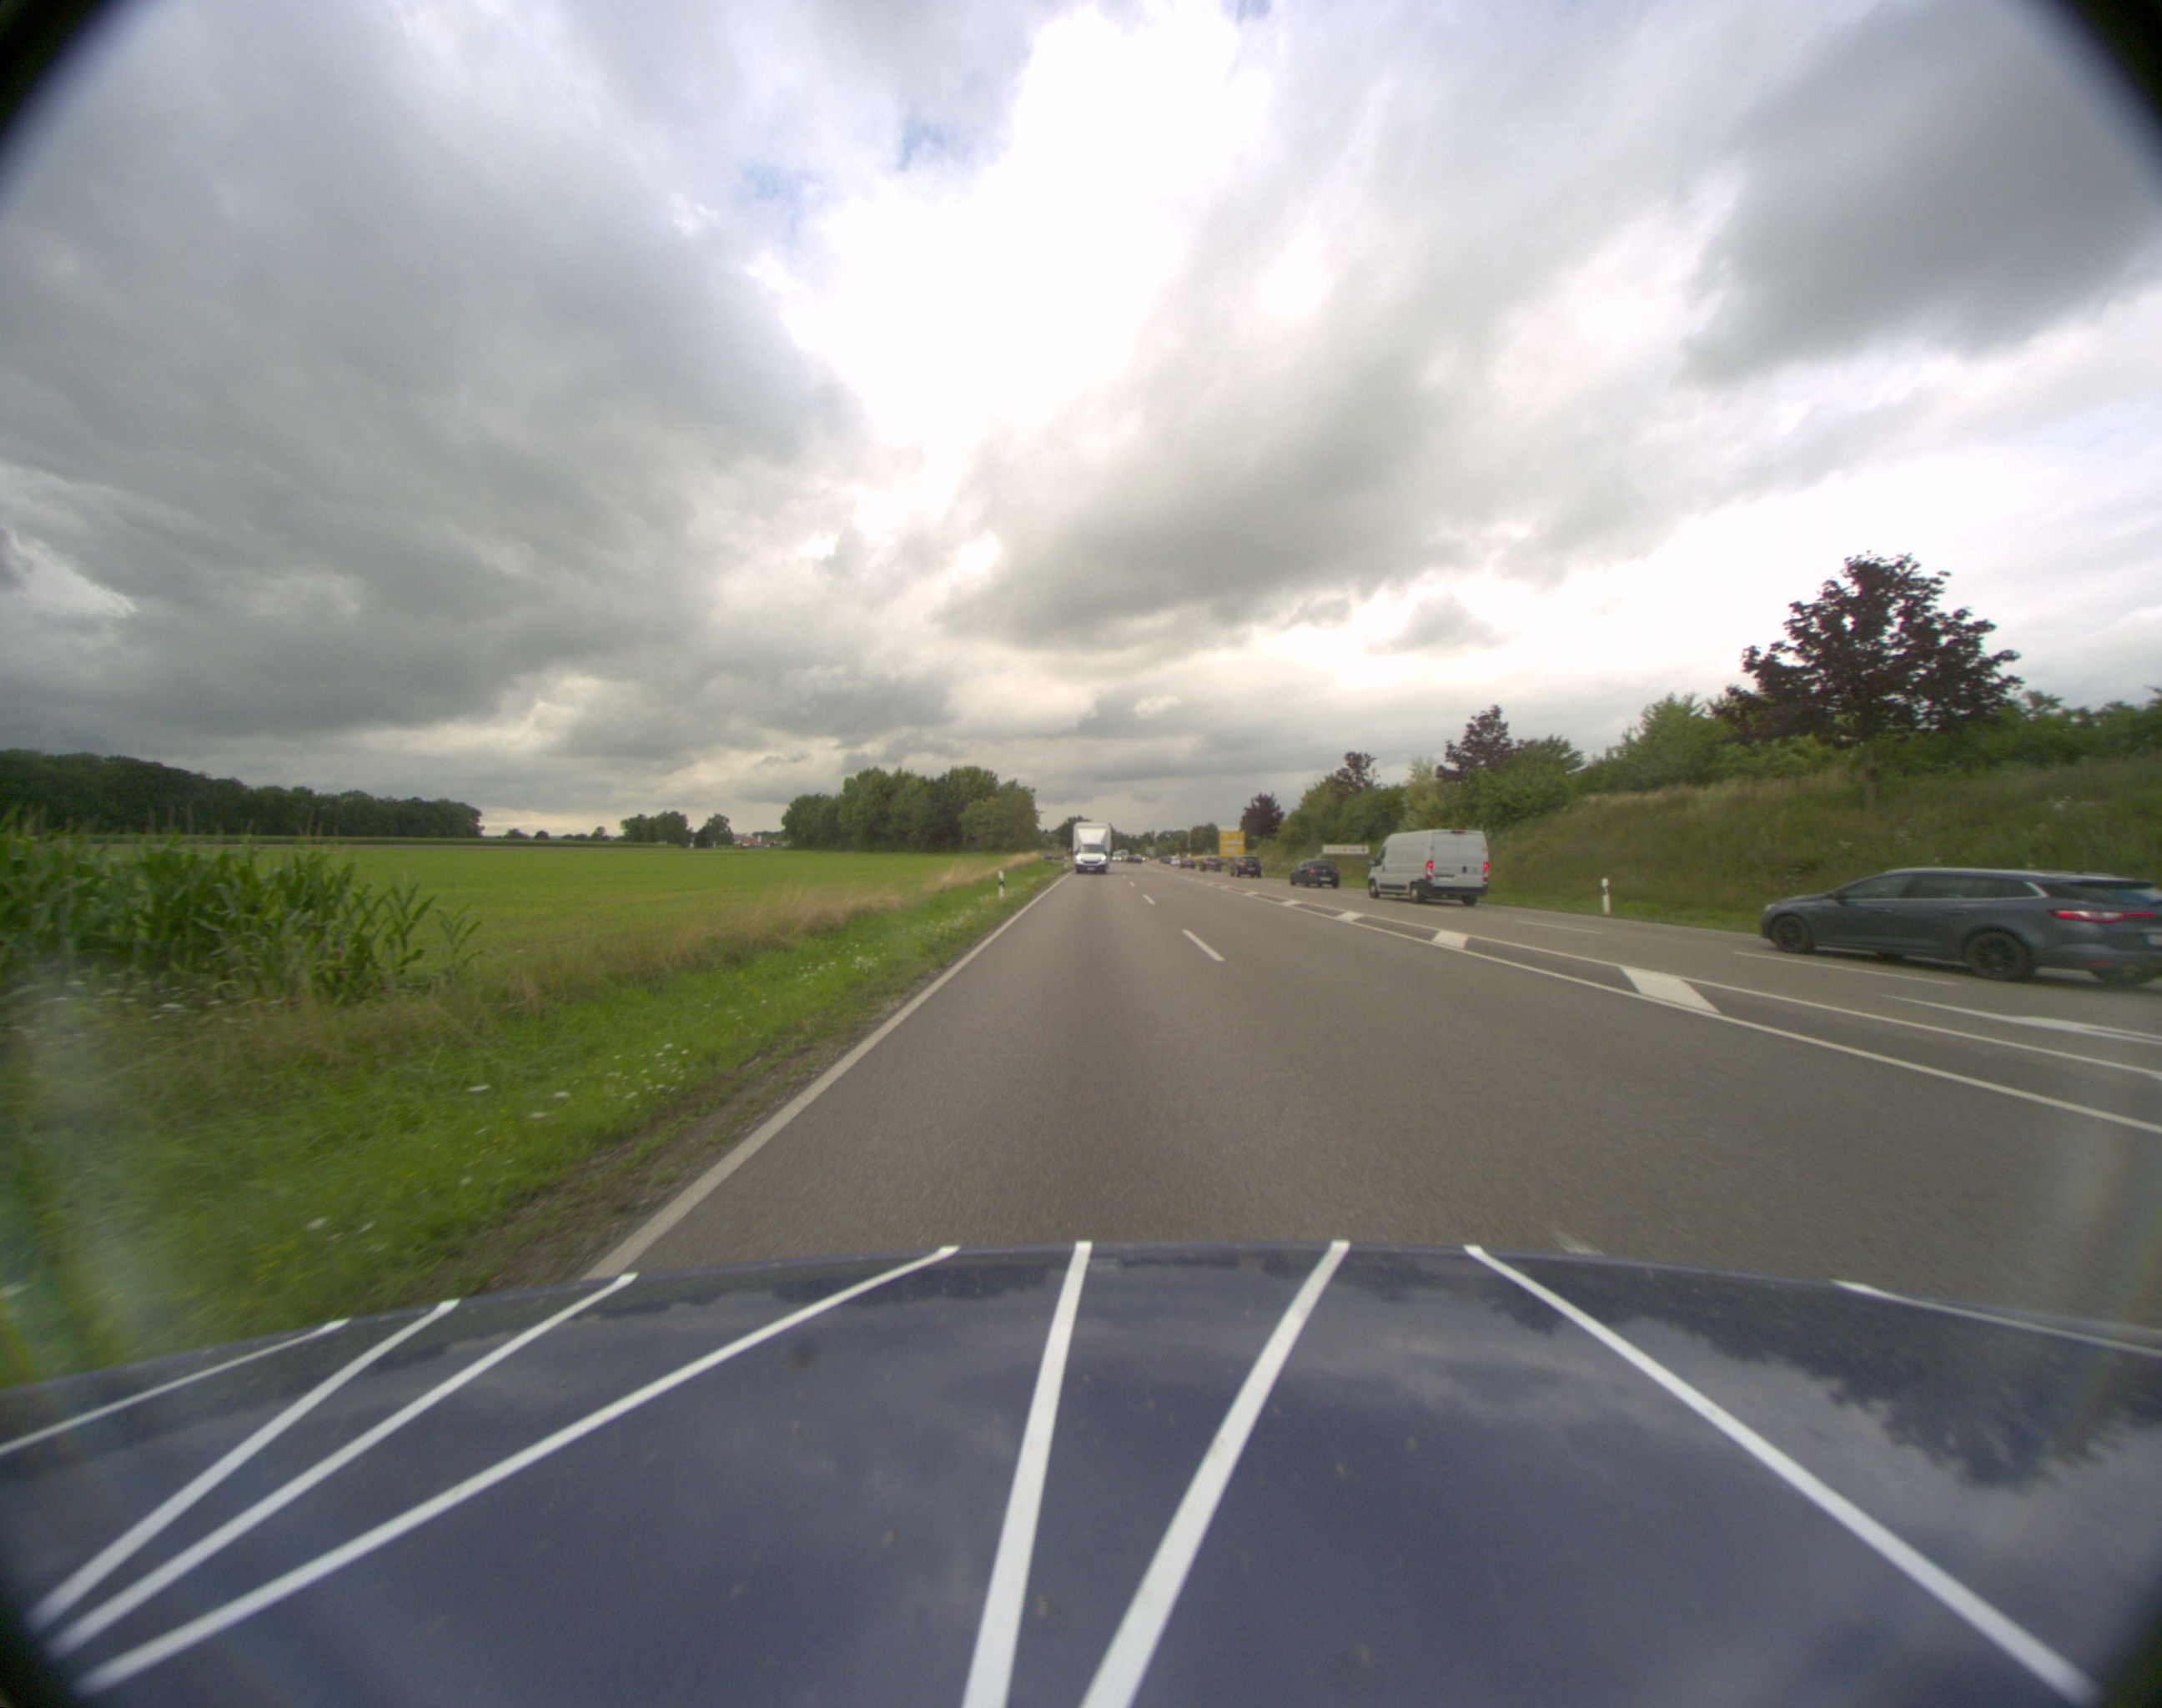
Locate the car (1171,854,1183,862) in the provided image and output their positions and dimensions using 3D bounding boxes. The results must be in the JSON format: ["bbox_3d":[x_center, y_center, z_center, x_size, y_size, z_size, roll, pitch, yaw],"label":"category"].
[{"bbox_3d":[16.439,0.696,130.300,1.611,1.406,4.056,1,0,1],"label":"car"}]

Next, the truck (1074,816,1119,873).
[{"bbox_3d":[0.988,-0.626,53.210,2.934,3.652,8.442,0,0,0],"label":"truck"}]

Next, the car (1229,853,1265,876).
[{"bbox_3d":[12.565,0.762,57.877,1.798,1.624,4.516,2,0,1],"label":"car"}]

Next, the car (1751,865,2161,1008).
[{"bbox_3d":[12.402,0.966,10.755,1.737,1.521,4.548,1,0,-1],"label":"car"}]

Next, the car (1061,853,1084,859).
[{"bbox_3d":[-1.750,0.341,157.213,4.344,1.214,1.866,1,0,6],"label":"car"}]

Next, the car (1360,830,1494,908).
[{"bbox_3d":[12.037,0.489,26.987,2.038,2.425,5.634,2,0,-1],"label":"car"}]

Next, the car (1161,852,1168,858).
[{"bbox_3d":[23.229,0.328,211.298,1.855,1.706,4.129,0,0,2],"label":"car"}]

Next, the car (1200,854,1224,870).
[{"bbox_3d":[13.691,0.832,79.504,1.798,1.502,4.706,2,0,1],"label":"car"}]

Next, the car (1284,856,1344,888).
[{"bbox_3d":[12.184,0.916,39.992,1.737,1.521,4.193,1,0,-1],"label":"car"}]

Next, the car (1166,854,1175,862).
[{"bbox_3d":[18.996,0.839,161.566,1.727,1.472,4.660,2,0,4],"label":"car"}]

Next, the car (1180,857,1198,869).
[{"bbox_3d":[14.581,1.212,102.956,1.798,1.397,4.706,3,0,1],"label":"car"}]
